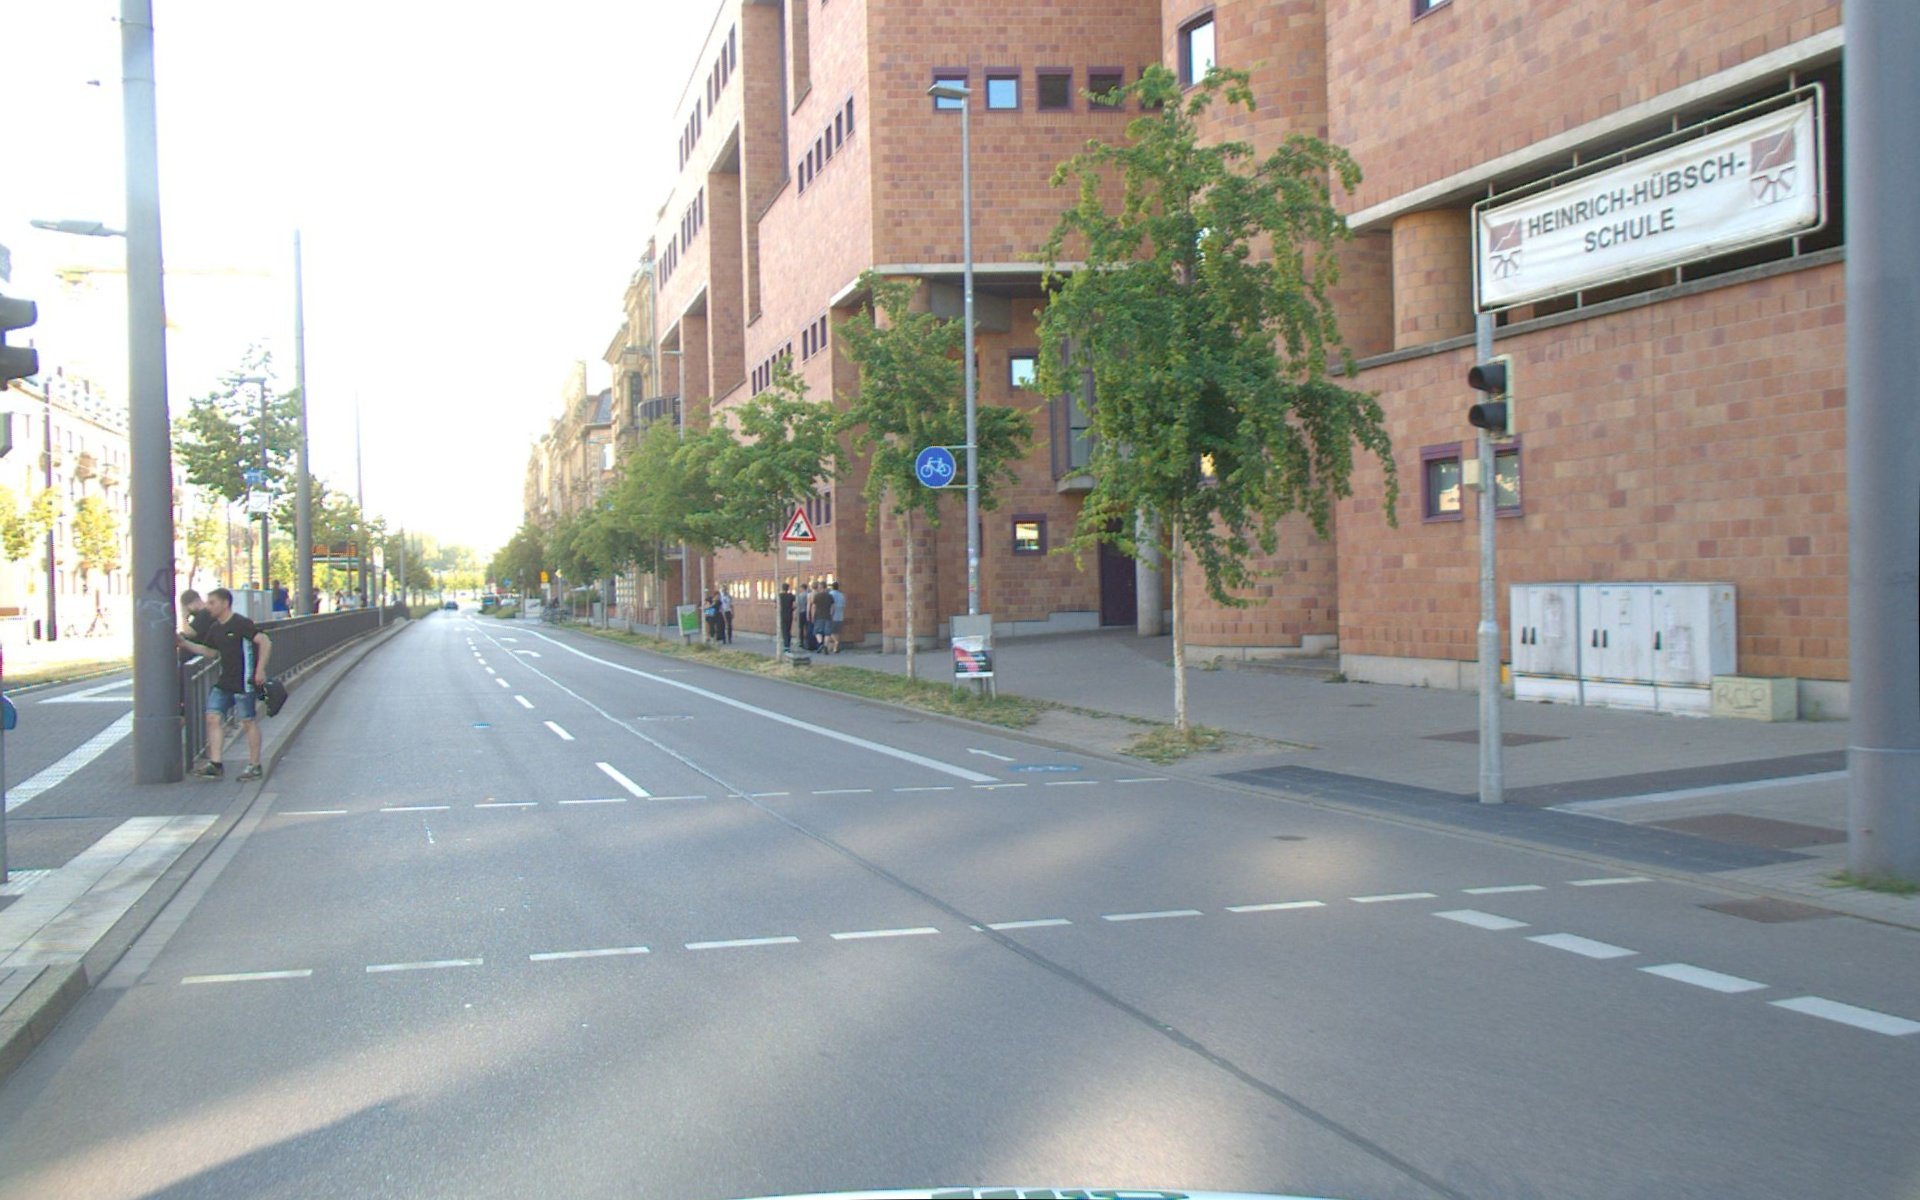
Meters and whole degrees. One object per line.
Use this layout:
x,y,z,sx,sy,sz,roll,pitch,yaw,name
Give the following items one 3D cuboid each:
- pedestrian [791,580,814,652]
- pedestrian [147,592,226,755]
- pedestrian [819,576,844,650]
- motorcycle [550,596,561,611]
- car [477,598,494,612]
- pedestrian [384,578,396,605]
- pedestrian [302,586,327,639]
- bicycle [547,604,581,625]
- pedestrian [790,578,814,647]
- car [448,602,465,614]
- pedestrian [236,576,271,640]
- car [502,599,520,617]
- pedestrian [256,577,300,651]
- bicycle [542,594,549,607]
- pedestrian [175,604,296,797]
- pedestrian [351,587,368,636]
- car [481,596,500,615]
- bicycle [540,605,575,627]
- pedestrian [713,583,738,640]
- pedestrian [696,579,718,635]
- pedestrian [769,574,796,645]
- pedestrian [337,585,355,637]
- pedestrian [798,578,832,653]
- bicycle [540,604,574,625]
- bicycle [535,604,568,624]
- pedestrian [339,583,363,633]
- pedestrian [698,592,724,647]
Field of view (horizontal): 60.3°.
-3.965,0.395,41.609,0.526,1.787,0.694,-2,0,-7,pedestrian
-7.634,0.711,16.334,0.479,1.565,0.551,-2,0,-3,pedestrian
-3.173,0.310,40.798,0.526,1.787,0.694,-2,0,-7,pedestrian
-38.730,0.319,158.468,0.782,1.331,2.838,-4,2,-17,motorcycle
-54.523,0.587,190.087,1.820,1.482,4.139,-2,2,-16,car
-35.337,-0.533,102.491,0.644,1.671,0.863,-1,-1,-17,pedestrian
-21.898,0.419,56.101,0.708,1.762,0.648,-2,0,-18,pedestrian
-23.213,0.863,96.904,1.801,1.083,0.659,-5,3,-23,bicycle
-4.145,0.319,43.365,0.528,1.787,0.420,-2,0,-17,pedestrian
-70.427,1.105,231.160,1.765,1.489,3.990,-2,1,-10,car
-17.034,0.195,39.884,0.672,1.509,0.824,-1,0,-18,pedestrian
-43.998,0.779,162.119,1.610,1.511,4.195,-4,2,-15,car
-16.211,0.326,39.311,0.874,1.701,0.668,-2,0,-19,pedestrian
-46.489,0.056,185.498,0.650,1.427,2.340,-2,1,-18,bicycle
-6.158,0.829,14.093,0.700,1.565,0.850,-2,0,-9,pedestrian
-21.339,0.398,58.755,0.497,1.708,0.648,-2,0,-18,pedestrian
-50.320,0.613,177.304,1.854,1.971,4.454,0,1,-16,car
-23.240,0.903,95.460,1.801,1.083,0.659,-5,3,-23,bicycle
-7.176,0.351,50.626,0.563,1.743,0.637,-2,0,-23,pedestrian
-8.202,0.221,53.608,0.531,1.787,0.417,-2,0,-32,pedestrian
-4.558,0.239,42.464,0.528,1.787,0.462,-2,0,-19,pedestrian
-21.050,0.377,56.686,0.497,1.762,0.648,-2,0,-18,pedestrian
-3.495,0.372,40.000,0.717,1.787,0.695,-2,0,-1,pedestrian
-23.924,0.851,98.122,1.801,1.083,0.659,-5,3,-23,bicycle
-24.562,0.834,99.457,1.801,1.083,0.659,-5,3,-23,bicycle
-19.600,0.255,53.242,0.662,1.589,0.902,-2,0,-18,pedestrian
-7.528,0.592,50.003,0.511,1.633,0.697,-2,0,-31,pedestrian
